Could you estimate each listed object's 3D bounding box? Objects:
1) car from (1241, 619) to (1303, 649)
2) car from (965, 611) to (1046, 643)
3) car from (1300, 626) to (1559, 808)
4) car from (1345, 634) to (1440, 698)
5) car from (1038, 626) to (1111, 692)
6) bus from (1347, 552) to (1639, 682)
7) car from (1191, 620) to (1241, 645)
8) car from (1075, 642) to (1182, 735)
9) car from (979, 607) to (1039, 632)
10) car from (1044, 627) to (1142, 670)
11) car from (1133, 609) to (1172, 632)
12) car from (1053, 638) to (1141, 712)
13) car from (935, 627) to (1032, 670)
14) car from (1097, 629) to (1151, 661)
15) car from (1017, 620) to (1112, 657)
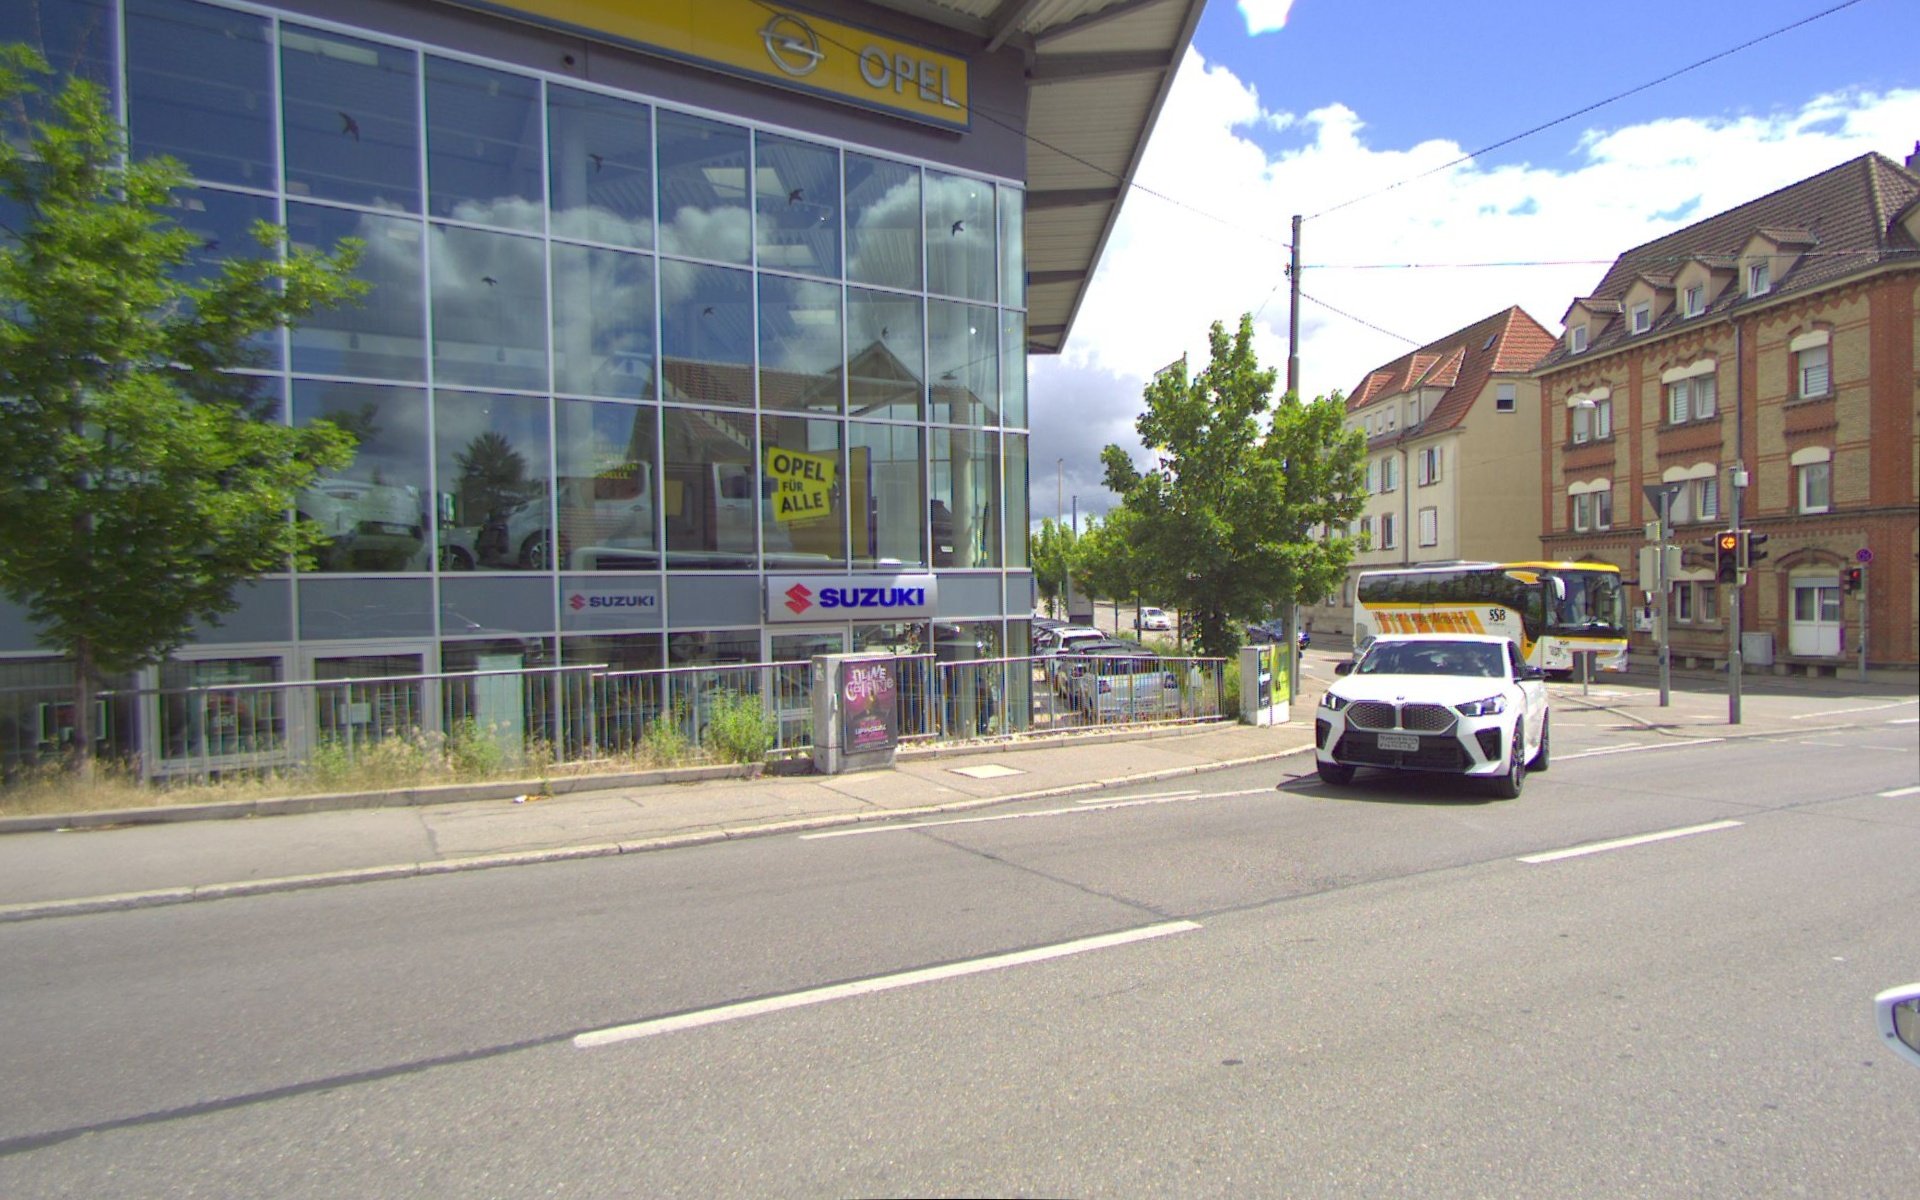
[{"bbox_3d":[15.695,1.707,50.710,1.717,1.428,3.999,1,-1,-3],"label":"car"},{"bbox_3d":[2.365,1.408,52.793,3.930,1.574,1.804,1,-1,-12],"label":"car"},{"bbox_3d":[5.286,1.111,10.979,1.804,1.572,4.292,-2,-3,35],"label":"car"},{"bbox_3d":[11.748,1.737,27.503,1.846,1.437,3.622,4,0,16],"label":"car"},{"bbox_3d":[3.264,1.662,29.237,1.620,1.703,3.499,-1,0,-2],"label":"car"},{"bbox_3d":[17.548,0.553,34.697,2.718,3.670,12.256,1,-1,-5],"label":"bus"},{"bbox_3d":[15.453,1.956,60.885,1.874,1.428,3.999,1,-1,-2],"label":"car"},{"bbox_3d":[3.336,1.715,20.410,1.648,1.582,3.365,-1,0,1],"label":"car"},{"bbox_3d":[3.248,1.314,67.420,3.922,1.574,1.807,1,-1,-1],"label":"car"},{"bbox_3d":[4.898,1.794,37.433,3.430,1.497,1.800,1,-1,1],"label":"car"},{"bbox_3d":[13.673,1.472,71.412,1.874,1.574,3.999,1,-1,-2],"label":"car"},{"bbox_3d":[3.292,1.771,24.694,1.584,1.547,3.499,-1,0,-2],"label":"car"},{"bbox_3d":[0.842,1.771,36.956,3.432,1.467,1.799,-1,0,-3],"label":"car"},{"bbox_3d":[7.949,2.159,49.011,1.766,1.467,3.498,1,-1,-5],"label":"car"},{"bbox_3d":[4.650,1.707,45.083,3.925,1.574,1.806,1,-1,-7],"label":"car"}]
